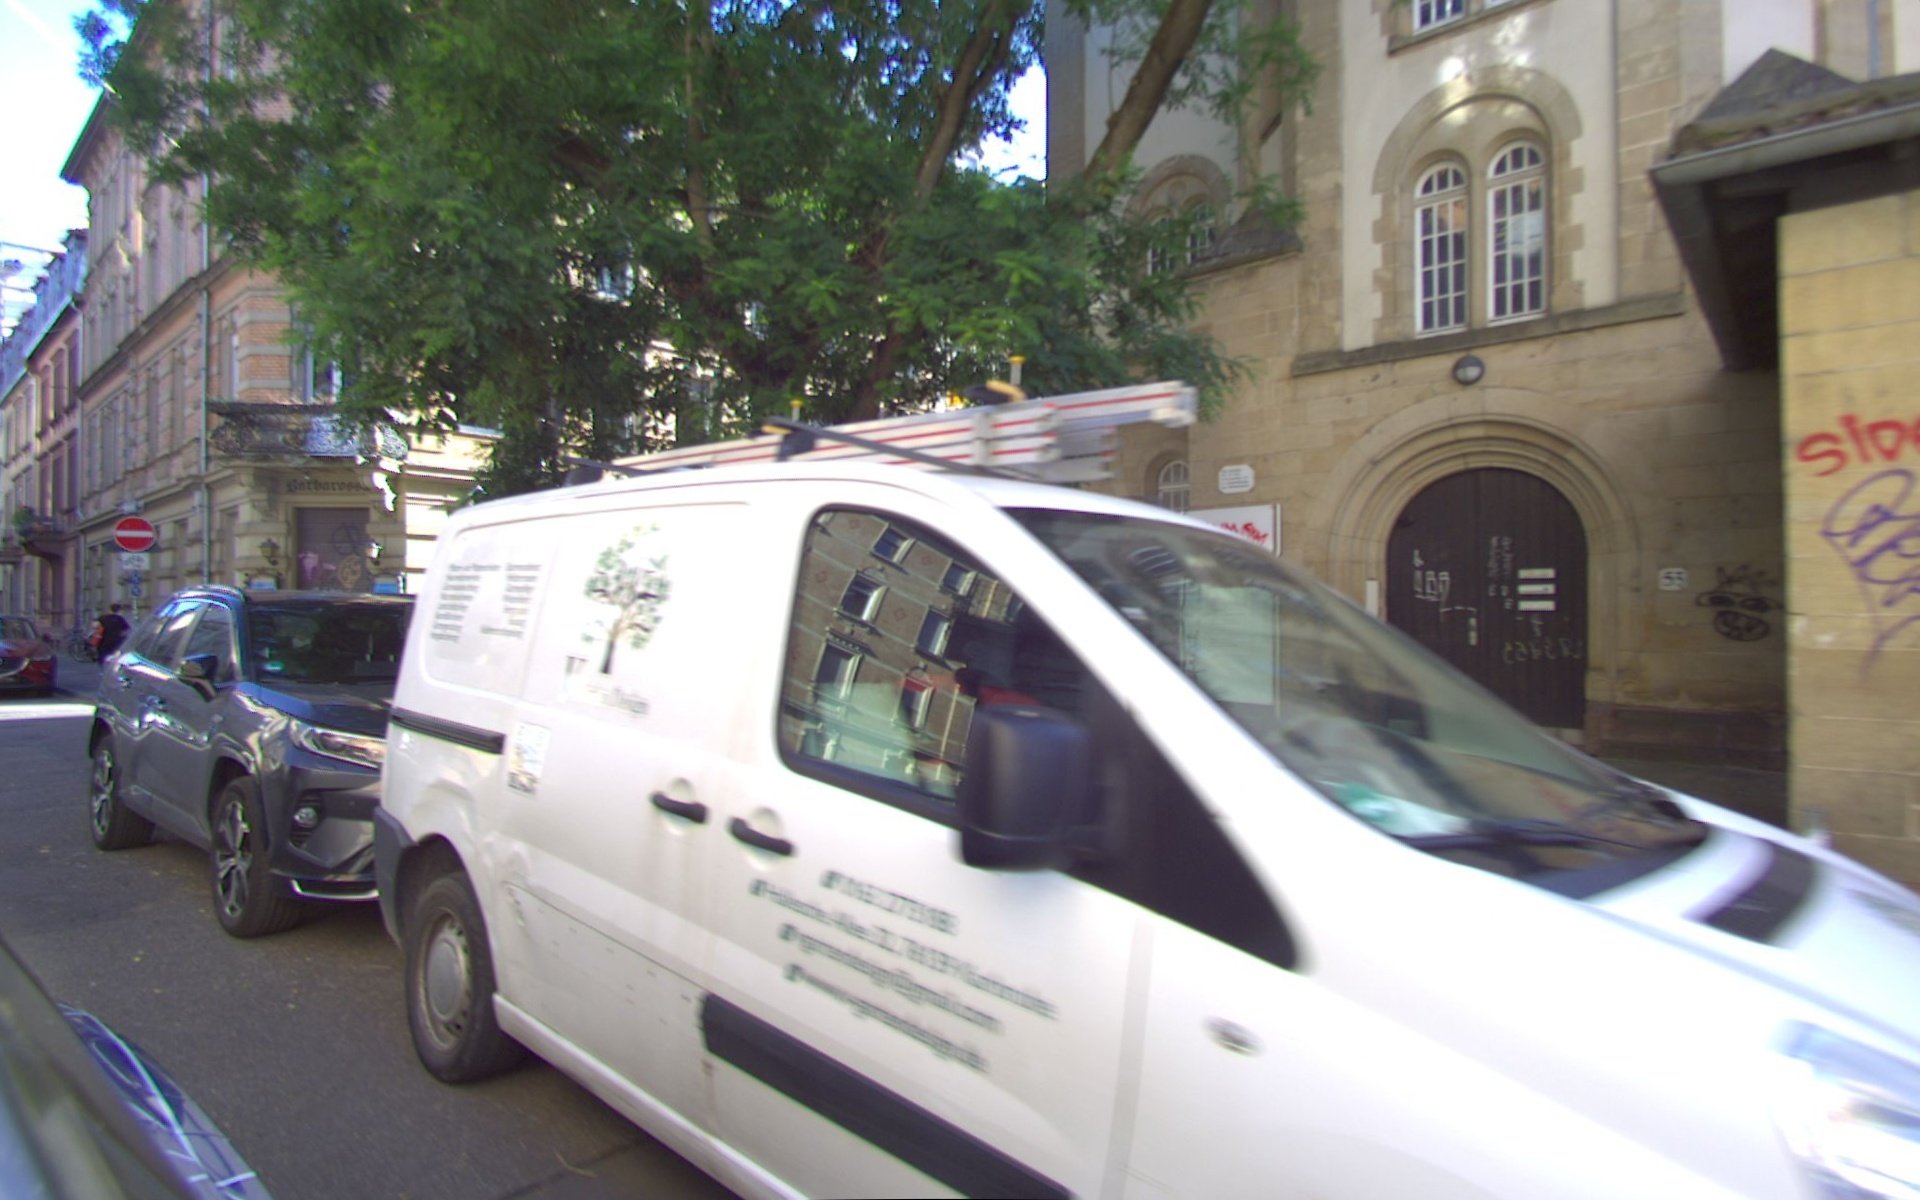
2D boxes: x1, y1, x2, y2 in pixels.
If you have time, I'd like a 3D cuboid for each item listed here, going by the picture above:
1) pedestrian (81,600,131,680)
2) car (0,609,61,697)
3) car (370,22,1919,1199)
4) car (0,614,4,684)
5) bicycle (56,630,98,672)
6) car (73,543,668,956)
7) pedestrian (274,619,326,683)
[{"bbox_3d":[-17.437,0.799,20.668,0.759,1.592,0.660,-1,0,40],"label":"pedestrian"},{"bbox_3d":[-18.008,0.935,18.640,4.088,1.492,1.704,-1,0,42],"label":"car"},{"bbox_3d":[0.204,0.483,2.685,4.464,1.876,1.825,-2,-2,43],"label":"car"},{"bbox_3d":[-21.601,1.029,21.344,3.871,1.431,1.657,-1,0,40],"label":"car"},{"bbox_3d":[-25.023,1.432,28.662,1.784,1.133,0.660,-2,1,42],"label":"bicycle"},{"bbox_3d":[-3.759,0.642,6.110,4.285,1.659,1.723,-1,-2,39],"label":"car"},{"bbox_3d":[-12.640,0.959,19.404,0.657,1.186,0.750,-1,0,-19],"label":"pedestrian"}]
